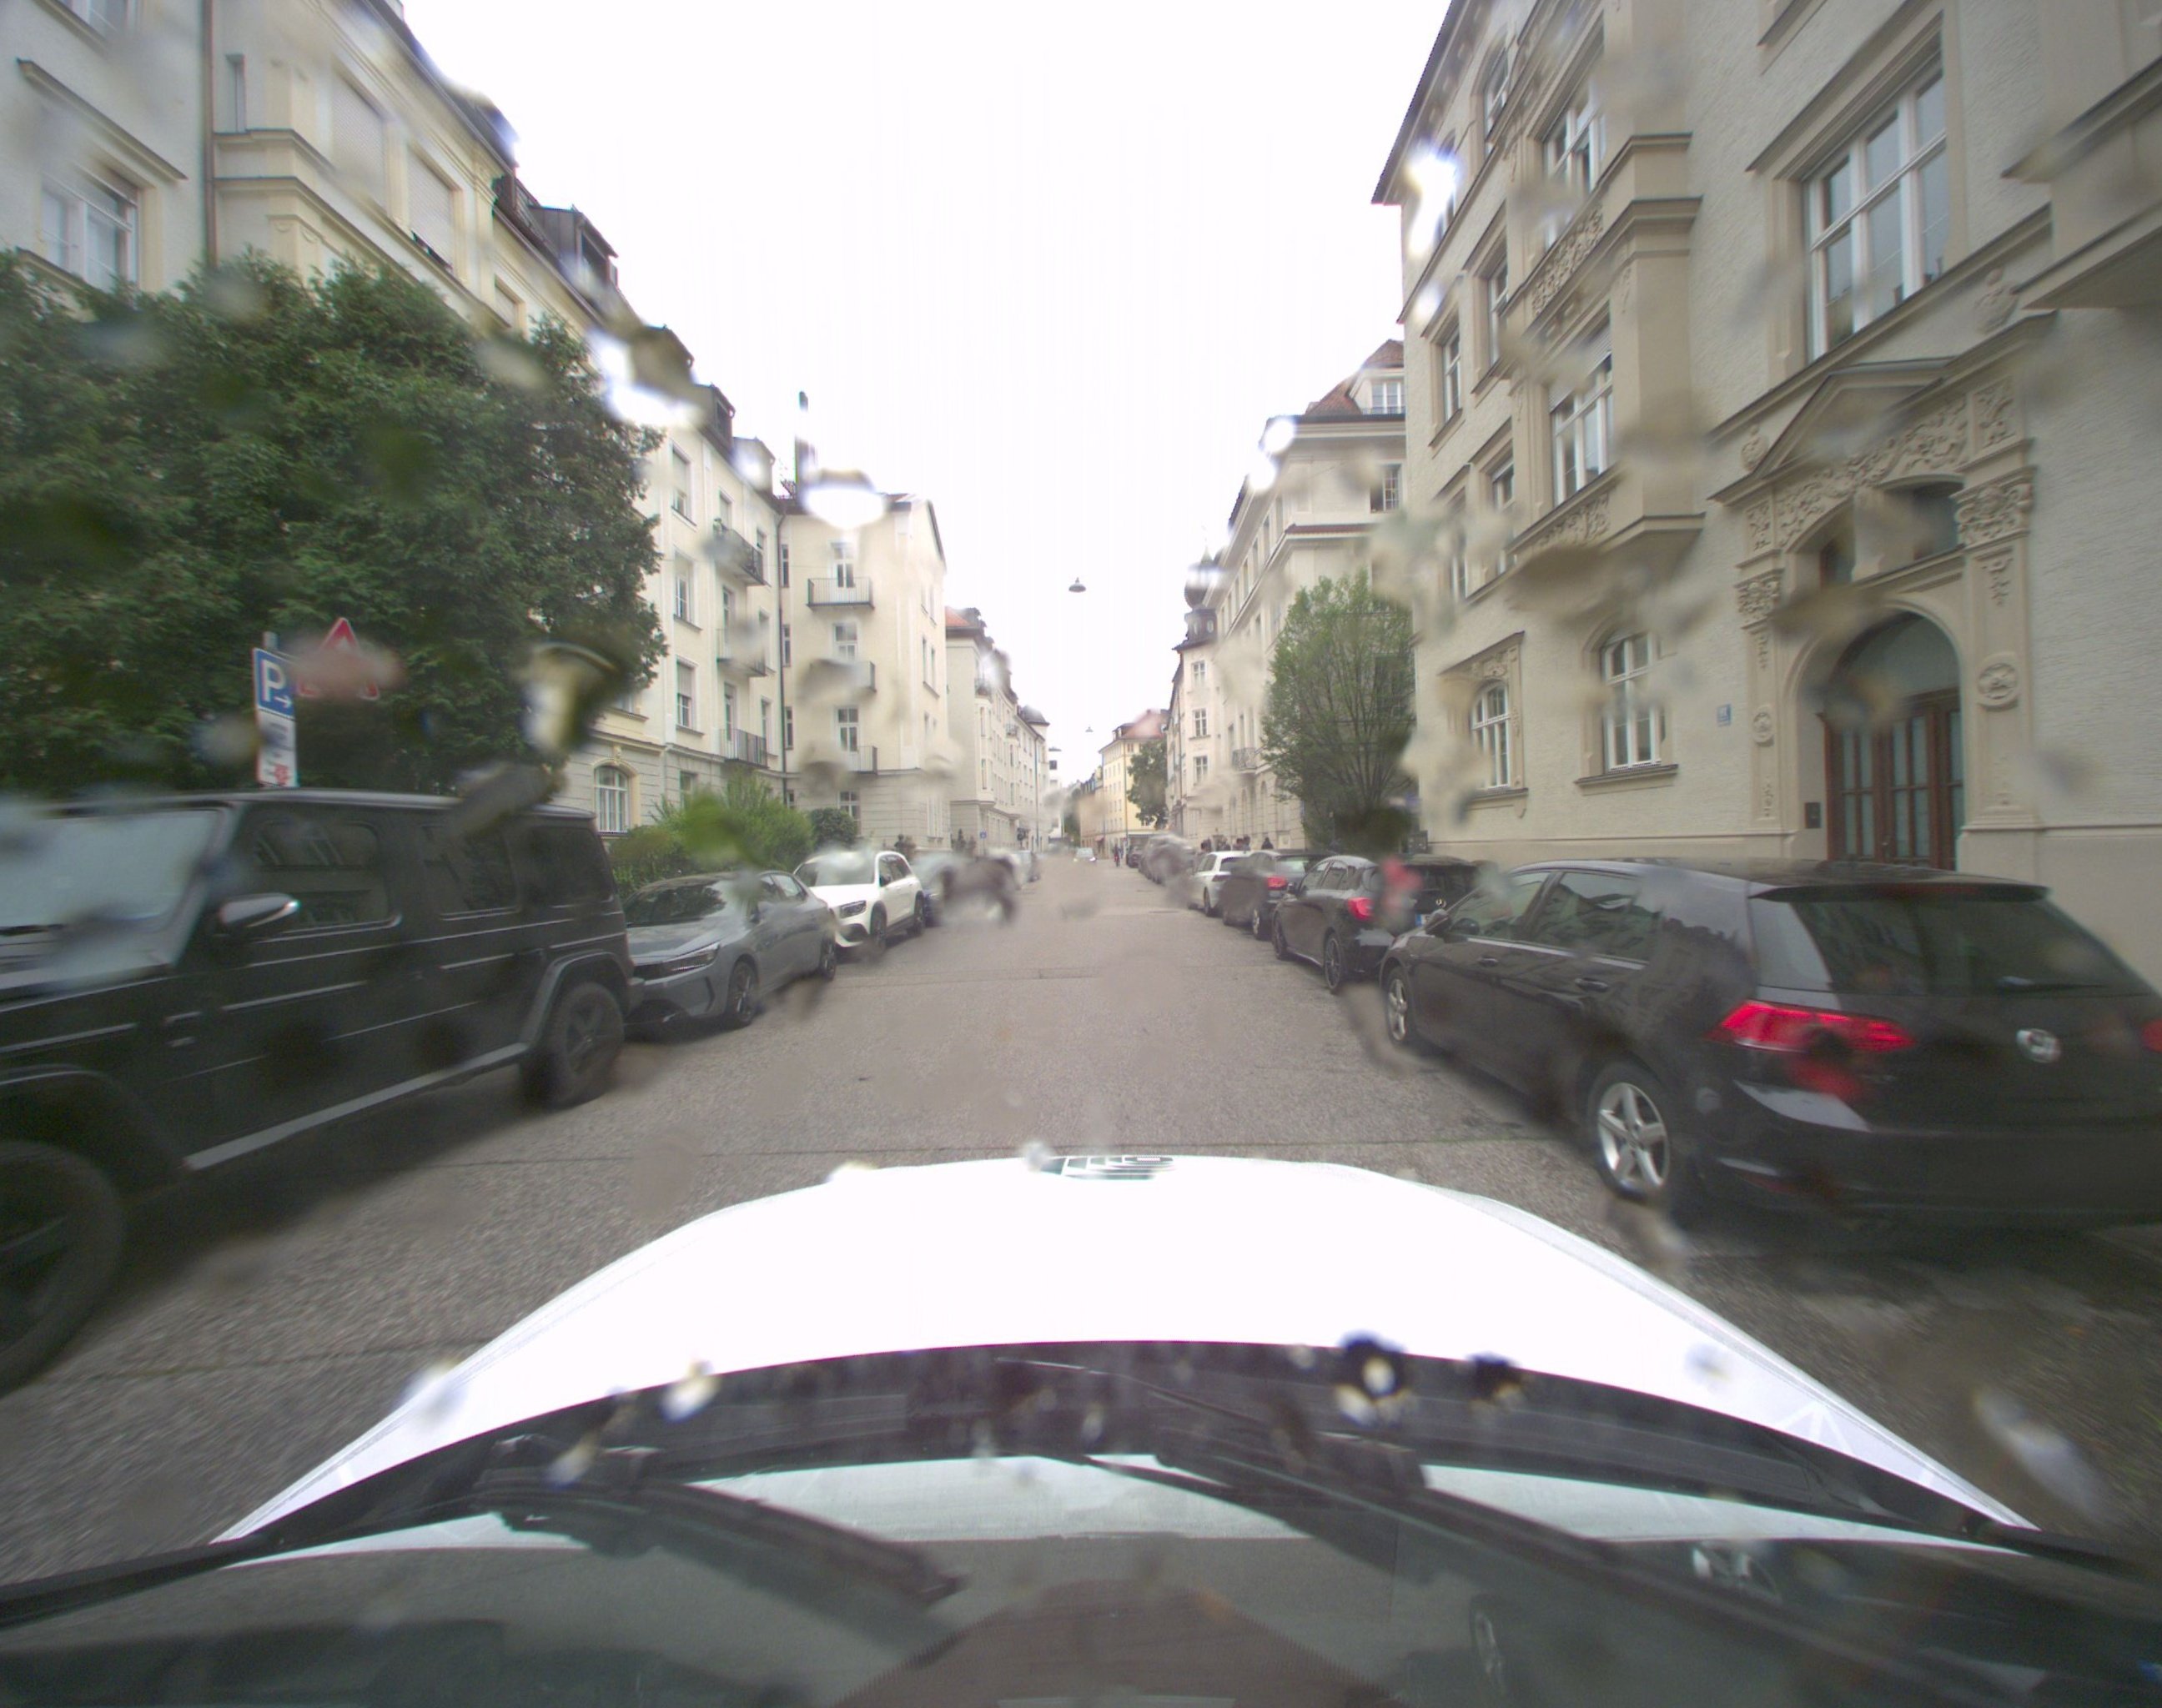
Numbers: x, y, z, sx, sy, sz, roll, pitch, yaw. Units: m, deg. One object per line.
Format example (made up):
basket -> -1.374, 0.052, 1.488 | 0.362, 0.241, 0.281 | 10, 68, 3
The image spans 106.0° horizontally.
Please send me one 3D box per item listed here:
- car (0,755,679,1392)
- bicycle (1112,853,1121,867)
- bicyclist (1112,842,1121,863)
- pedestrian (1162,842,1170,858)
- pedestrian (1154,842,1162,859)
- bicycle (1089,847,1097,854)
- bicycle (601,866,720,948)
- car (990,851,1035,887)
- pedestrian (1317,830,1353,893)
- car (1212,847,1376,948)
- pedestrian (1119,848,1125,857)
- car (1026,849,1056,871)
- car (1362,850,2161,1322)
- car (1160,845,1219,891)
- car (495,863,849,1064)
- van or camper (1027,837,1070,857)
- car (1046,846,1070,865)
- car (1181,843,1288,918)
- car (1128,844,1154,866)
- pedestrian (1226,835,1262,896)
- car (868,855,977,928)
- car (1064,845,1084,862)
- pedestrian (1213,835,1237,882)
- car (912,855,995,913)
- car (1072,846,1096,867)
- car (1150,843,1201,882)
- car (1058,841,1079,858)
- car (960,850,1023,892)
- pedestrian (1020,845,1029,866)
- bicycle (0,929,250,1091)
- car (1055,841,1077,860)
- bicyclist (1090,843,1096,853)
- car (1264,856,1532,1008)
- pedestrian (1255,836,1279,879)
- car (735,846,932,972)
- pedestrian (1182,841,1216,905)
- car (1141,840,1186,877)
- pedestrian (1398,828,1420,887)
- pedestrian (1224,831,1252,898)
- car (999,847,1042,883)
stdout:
car -> -4.150, 0.682, 3.885 | 1.905, 1.886, 4.818 | -3, 0, 1
bicycle -> 2.770, 0.468, 63.361 | 0.636, 1.004, 1.577 | -2, 0, 6
bicyclist -> 2.752, -0.116, 63.399 | 0.603, 1.606, 0.759 | -2, 1, 5
pedestrian -> 9.111, -0.424, 86.929 | 0.677, 1.674, 0.654 | -4, 1, -1
pedestrian -> 8.218, -0.391, 86.582 | 0.701, 1.728, 0.703 | -3, 0, -1
bicycle -> 1.960, -0.562, 131.008 | 0.847, 1.001, 2.160 | -2, 1, -12
bicycle -> -7.570, 0.898, 14.840 | 0.693, 1.260, 2.532 | -3, 1, 2
car -> -3.049, 0.627, 36.923 | 1.640, 1.403, 3.998 | -4, 1, -1
pedestrian -> 7.549, 0.210, 24.220 | 0.856, 1.817, 0.678 | -1, 1, 0
car -> 3.666, 0.667, 14.783 | 1.787, 1.498, 4.080 | 1, 1, -2
pedestrian -> 6.208, -0.211, 122.990 | 0.695, 1.270, 0.652 | -3, 0, 6
car -> -2.672, 0.388, 55.433 | 1.844, 1.367, 4.701 | -2, 1, -1
car -> 3.009, 0.715, 4.520 | 1.635, 1.417, 4.002 | -1, 1, 2
car -> 3.899, 0.455, 29.854 | 1.705, 1.451, 4.226 | -1, 1, 1
car -> -3.915, 0.919, 8.653 | 1.637, 1.430, 3.919 | -5, 1, 0
van or camper -> -4.640, -0.986, 116.399 | 5.898, 2.677, 1.869 | -2, -1, -7
car -> -1.845, 0.063, 65.996 | 1.806, 1.385, 4.440 | -3, 1, -2
car -> 3.482, 0.526, 19.165 | 1.658, 1.507, 4.063 | -1, 1, -1
car -> 4.479, 0.036, 61.095 | 1.702, 1.587, 4.000 | 0, 1, 0
pedestrian -> 4.804, 0.324, 24.048 | 0.879, 1.769, 0.672 | -2, 1, 0
car -> -3.541, 0.773, 18.848 | 1.763, 1.420, 3.998 | -1, 0, -1
car -> -0.763, -0.123, 91.658 | 1.870, 1.783, 4.005 | -2, 1, 4
pedestrian -> 5.598, 0.159, 31.692 | 0.679, 1.775, 0.855 | -5, 1, 2
car -> -3.593, 0.789, 23.611 | 1.730, 1.364, 4.191 | -4, 1, -1
car -> 0.262, 0.153, 66.066 | 1.718, 1.533, 4.087 | -4, 0, 2
car -> 3.924, 0.308, 34.335 | 1.742, 1.525, 4.172 | -1, 1, 2
car -> -1.278, -0.493, 86.506 | 1.834, 1.757, 4.005 | -2, 1, 4
car -> -3.327, 0.601, 30.988 | 1.790, 1.435, 4.081 | -2, 0, 1
pedestrian -> -4.679, 0.156, 67.300 | 0.695, 1.707, 0.665 | -2, 0, -1
bicycle -> -7.867, 1.202, 6.650 | 0.449, 0.951, 1.637 | -1, 2, 0
car -> -1.289, -0.326, 71.280 | 1.735, 1.486, 4.182 | -2, 1, 1
bicyclist -> 1.975, -0.975, 130.874 | 0.782, 1.637, 0.972 | -2, 1, -13
car -> 3.394, 0.734, 9.589 | 1.735, 1.398, 4.024 | 0, 0, 2
pedestrian -> 7.472, 0.132, 32.794 | 0.680, 1.678, 0.812 | -4, 1, 0
car -> -3.907, 0.757, 13.728 | 1.800, 1.648, 4.486 | -3, 1, 1
pedestrian -> 3.187, 0.504, 21.920 | 0.845, 1.657, 0.869 | -1, 0, 10
car -> 4.007, 0.178, 40.036 | 1.888, 1.636, 4.395 | -2, 1, 2
pedestrian -> 10.212, 0.109, 25.352 | 0.548, 1.794, 0.577 | -2, 1, 22
pedestrian -> 4.246, 0.279, 22.077 | 0.625, 1.769, 0.673 | -2, 1, 2
car -> -3.055, 0.542, 41.811 | 1.690, 1.580, 4.064 | -4, 1, 2
